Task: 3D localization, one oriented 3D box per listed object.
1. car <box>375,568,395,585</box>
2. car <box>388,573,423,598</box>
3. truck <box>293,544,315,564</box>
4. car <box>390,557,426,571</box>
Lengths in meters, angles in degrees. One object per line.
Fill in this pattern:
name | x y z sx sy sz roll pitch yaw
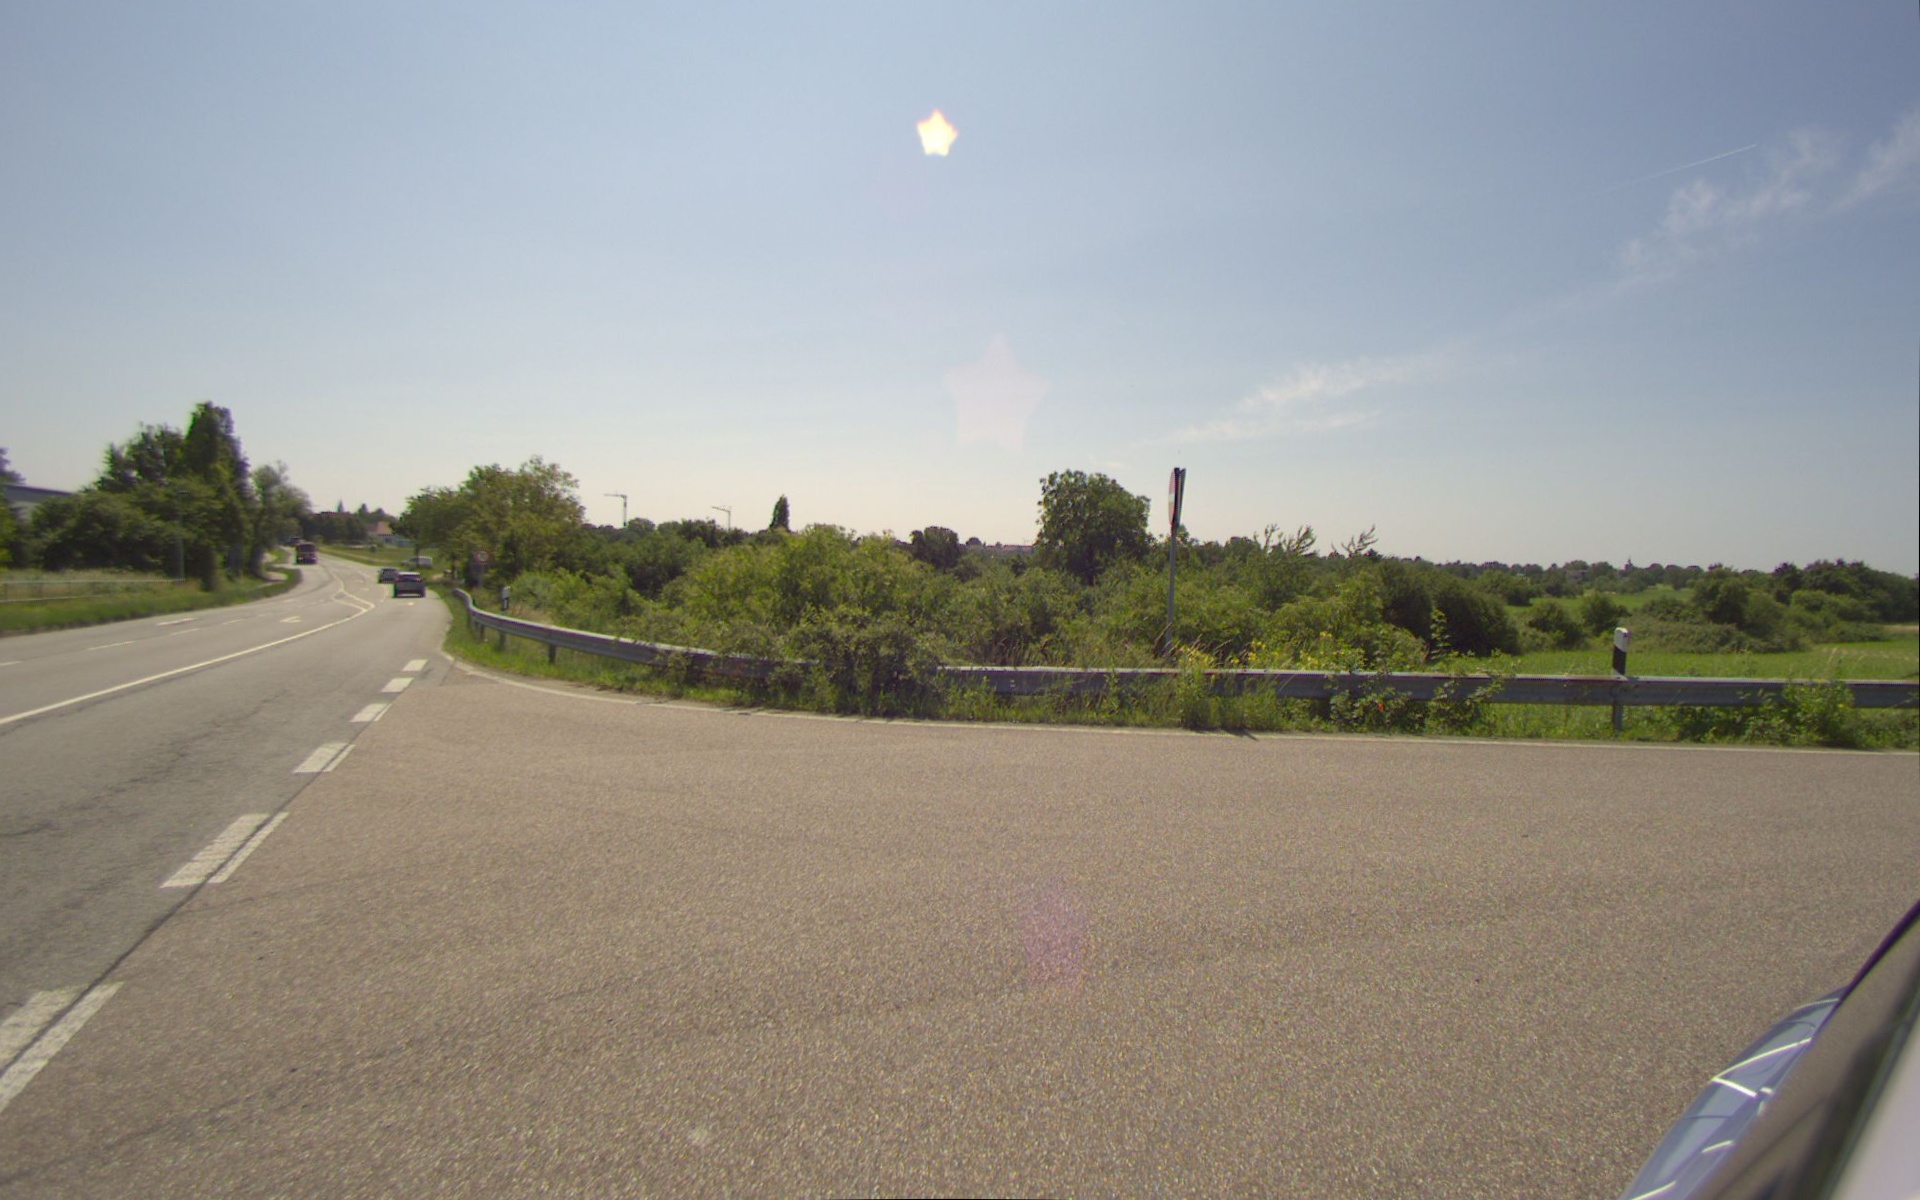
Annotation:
car | -56.647 -2.303 99.671 1.495 1.592 3.675 0 1 -26
car | -36.100 -0.959 65.986 1.761 1.603 4.498 0 1 -25
truck | -98.758 -6.948 152.311 2.807 2.821 6.963 0 2 -34
car | -82.550 -5.428 151.427 4.323 2.039 2.004 0 1 -12
